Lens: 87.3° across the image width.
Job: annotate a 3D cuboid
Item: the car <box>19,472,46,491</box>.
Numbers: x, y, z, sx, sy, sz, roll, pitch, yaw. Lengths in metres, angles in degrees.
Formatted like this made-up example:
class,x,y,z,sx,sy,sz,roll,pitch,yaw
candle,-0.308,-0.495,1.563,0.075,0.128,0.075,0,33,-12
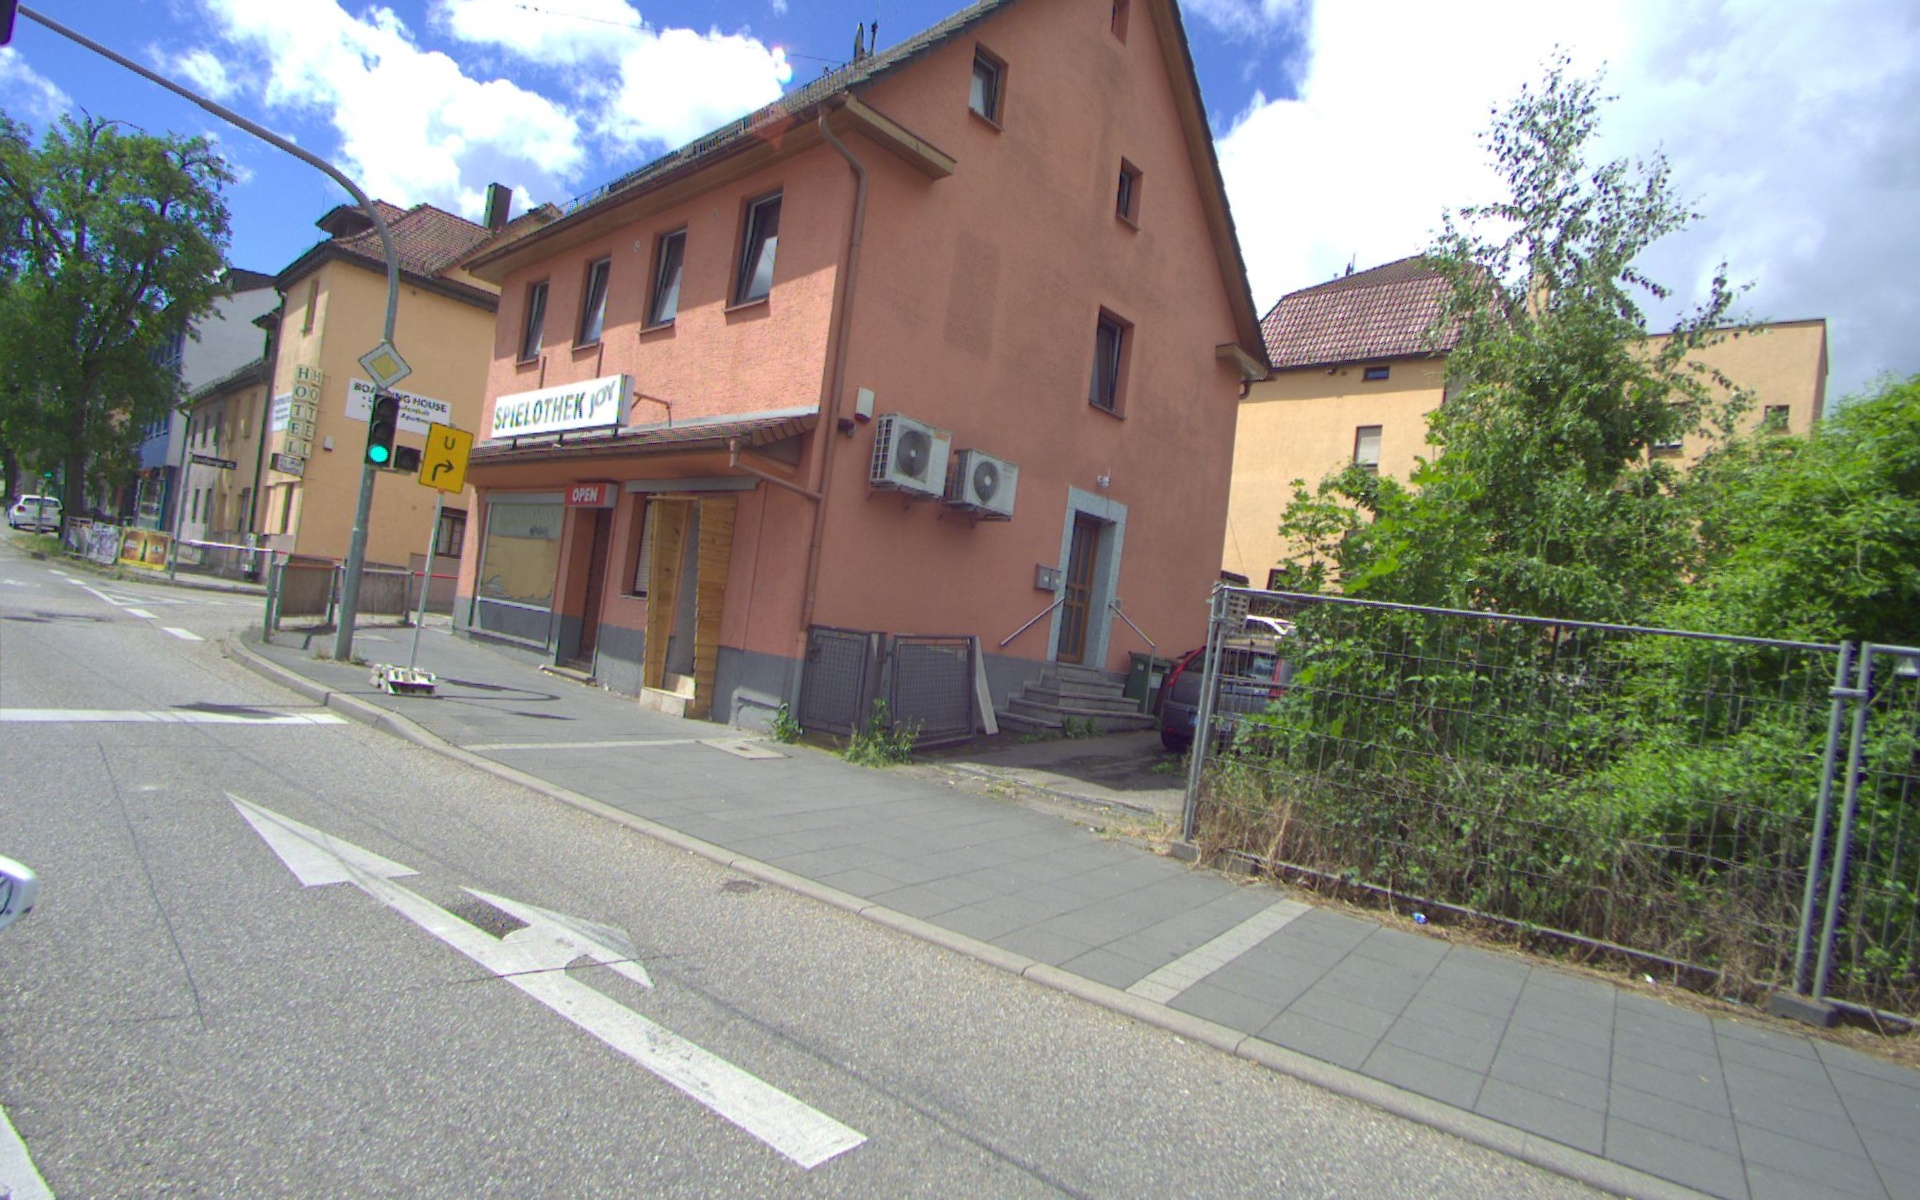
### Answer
class,x,y,z,sx,sy,sz,roll,pitch,yaw
car,-108.500,-13.861,117.742,1.985,1.682,3.957,7,-1,-39

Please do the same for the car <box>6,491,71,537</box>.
class,x,y,z,sx,sy,sz,roll,pitch,yaw
car,-39.499,-3.674,43.090,1.782,1.615,3.950,7,-1,-45

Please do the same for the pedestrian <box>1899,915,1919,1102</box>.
class,x,y,z,sx,sy,sz,roll,pitch,yaw
pedestrian,4.558,1.318,4.186,0.767,1.663,0.762,9,1,43

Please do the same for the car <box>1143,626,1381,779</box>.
class,x,y,z,sx,sy,sz,roll,pitch,yaw
car,3.798,1.197,12.475,1.627,1.516,2.796,7,2,43

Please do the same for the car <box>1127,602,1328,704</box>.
class,x,y,z,sx,sy,sz,roll,pitch,yaw
car,6.215,1.220,23.641,3.947,1.804,1.990,7,-1,44
